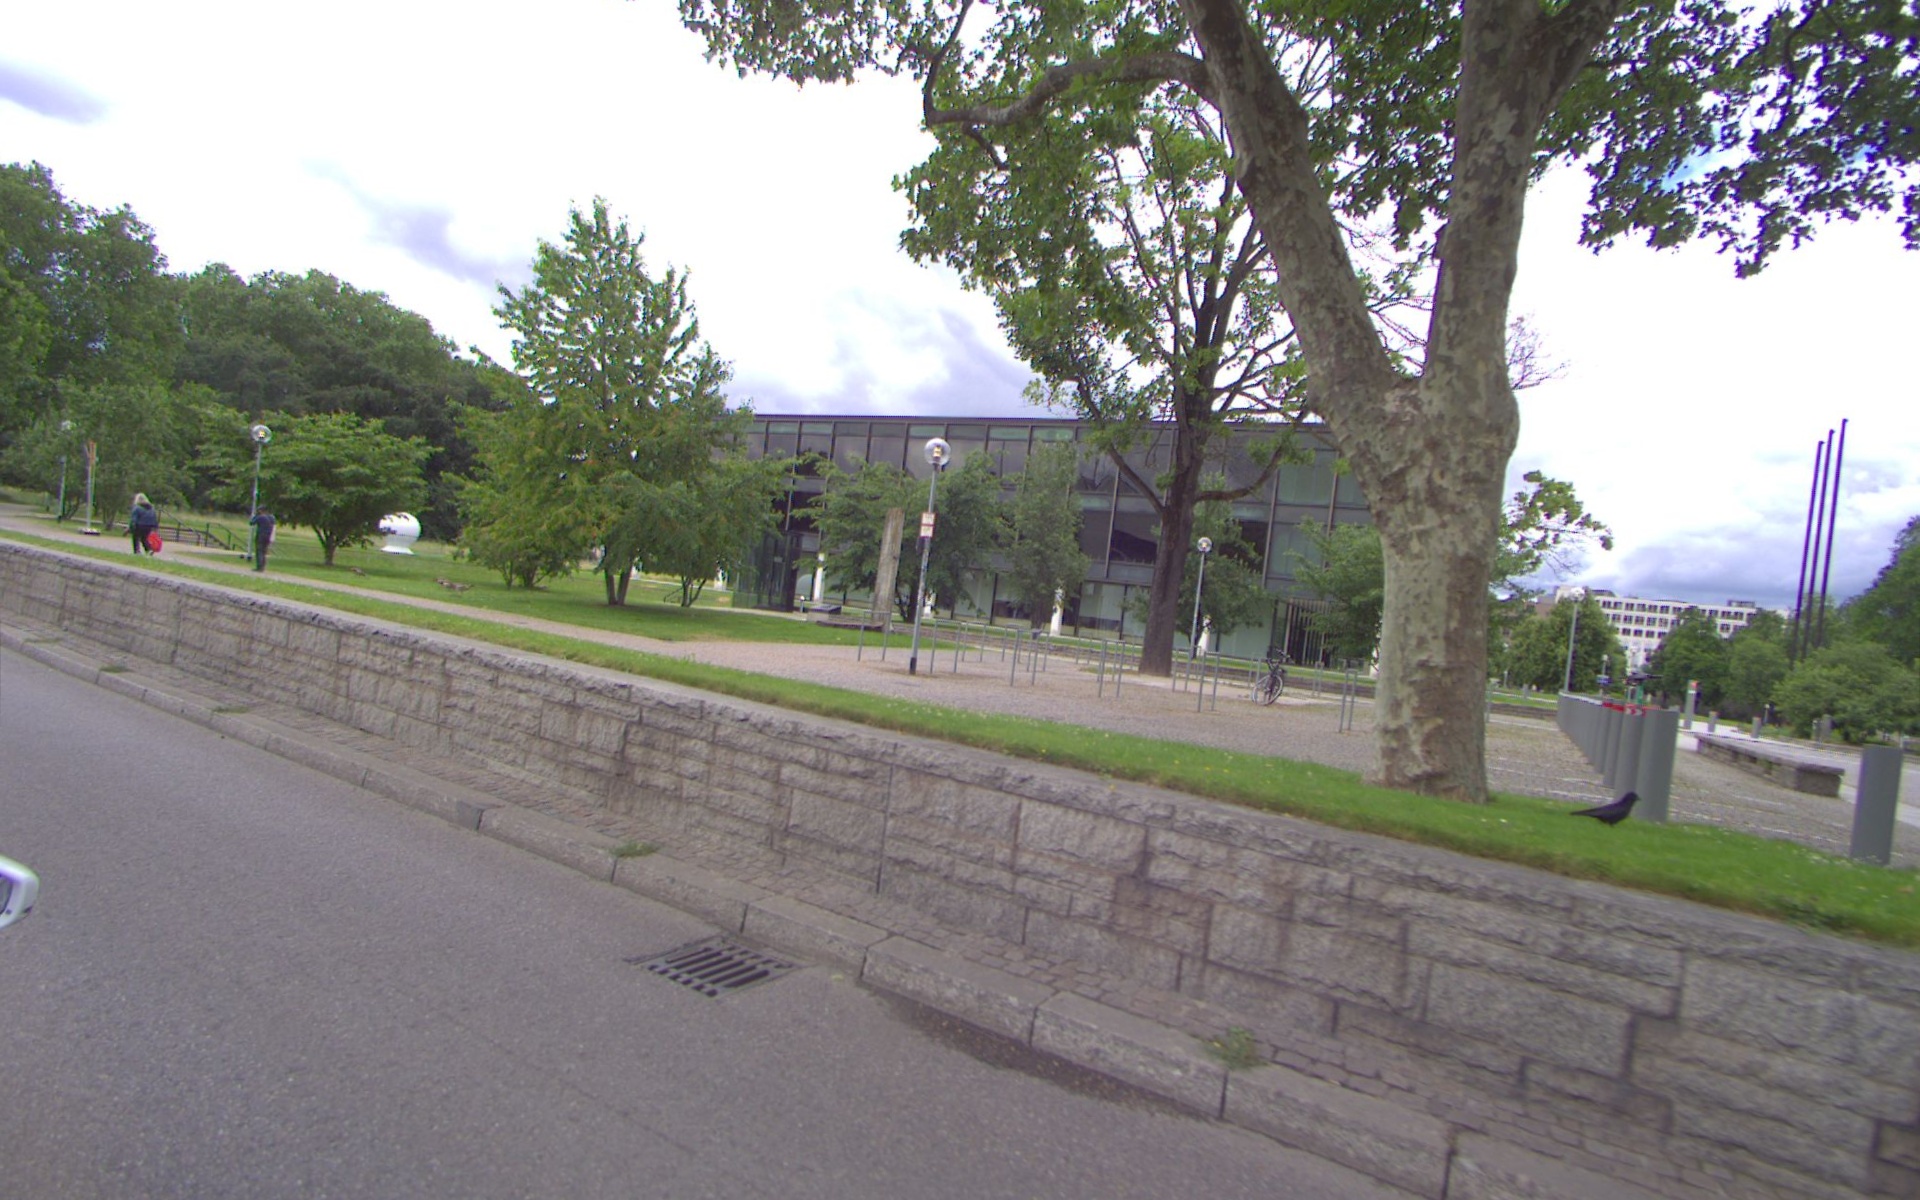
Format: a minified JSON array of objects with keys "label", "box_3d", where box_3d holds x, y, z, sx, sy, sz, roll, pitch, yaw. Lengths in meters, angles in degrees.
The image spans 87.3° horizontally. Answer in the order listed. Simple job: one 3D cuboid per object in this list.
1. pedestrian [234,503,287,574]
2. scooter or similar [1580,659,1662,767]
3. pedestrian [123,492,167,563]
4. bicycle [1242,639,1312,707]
[{"label":"pedestrian","box_3d":[-17.404,-1.529,25.034,0.617,1.646,0.801,7,1,39]},{"label":"scooter or similar","box_3d":[8.559,1.460,13.059,0.716,1.261,0.718,6,-2,29]},{"label":"pedestrian","box_3d":[-19.521,-1.745,24.088,0.680,1.581,0.897,6,1,-42]},{"label":"bicycle","box_3d":[6.120,1.404,19.316,0.674,1.155,2.194,7,0,31]}]
